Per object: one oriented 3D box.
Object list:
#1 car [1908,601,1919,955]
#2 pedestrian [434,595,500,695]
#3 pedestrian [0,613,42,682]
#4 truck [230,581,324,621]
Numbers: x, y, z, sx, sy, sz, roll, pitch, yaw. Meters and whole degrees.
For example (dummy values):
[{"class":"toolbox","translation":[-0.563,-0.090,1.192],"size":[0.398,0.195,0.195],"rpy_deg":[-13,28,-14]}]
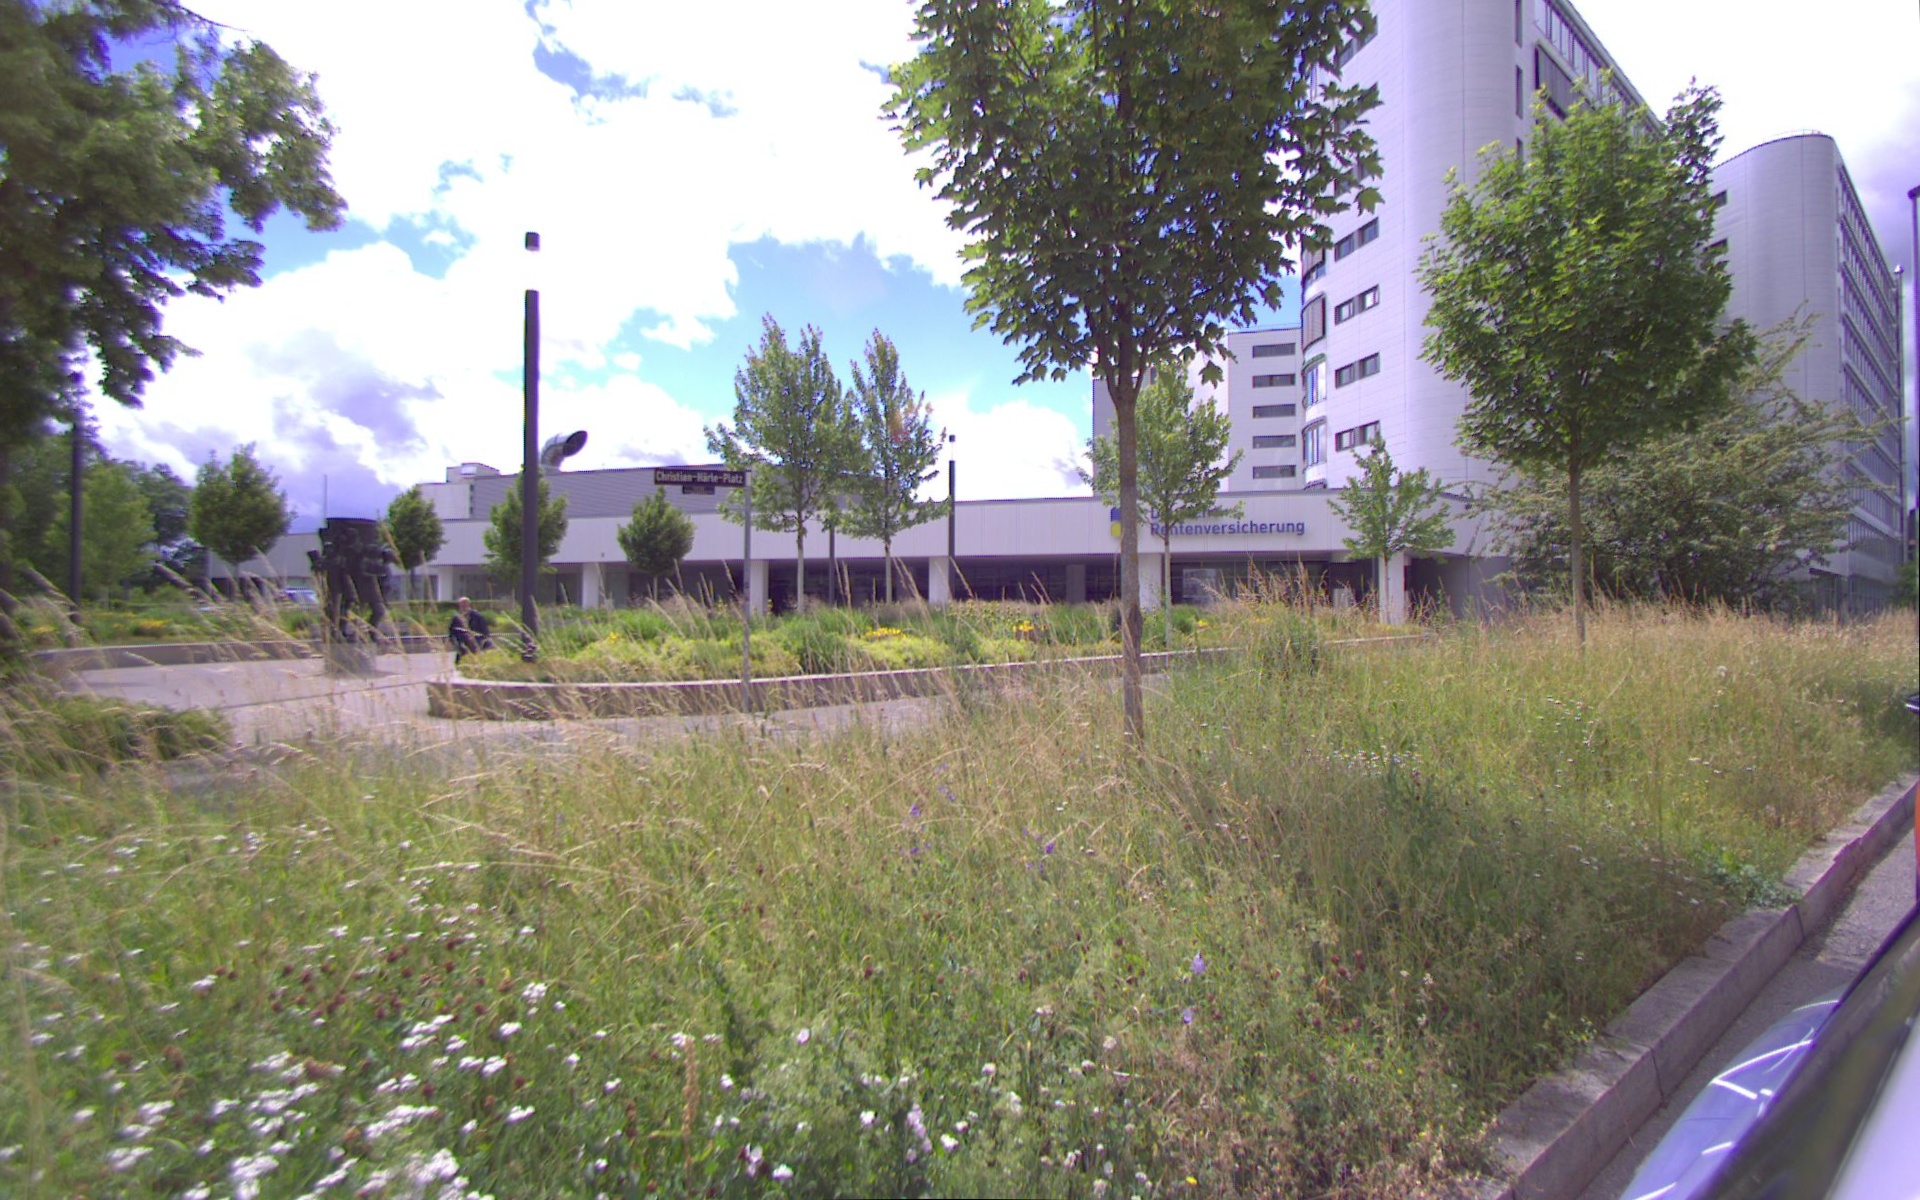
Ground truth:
[{"class":"car","translation":[5.813,0.753,4.635],"size":[3.611,1.434,1.748],"rpy_deg":[0,1,-41]},{"class":"pedestrian","translation":[-8.330,0.750,17.119],"size":[0.757,1.646,0.765],"rpy_deg":[0,0,-3]},{"class":"pedestrian","translation":[-17.411,0.864,18.681],"size":[0.621,1.238,0.620],"rpy_deg":[1,0,-36]},{"class":"truck","translation":[-36.135,0.066,53.575],"size":[3.941,2.039,1.991],"rpy_deg":[1,0,14]}]
